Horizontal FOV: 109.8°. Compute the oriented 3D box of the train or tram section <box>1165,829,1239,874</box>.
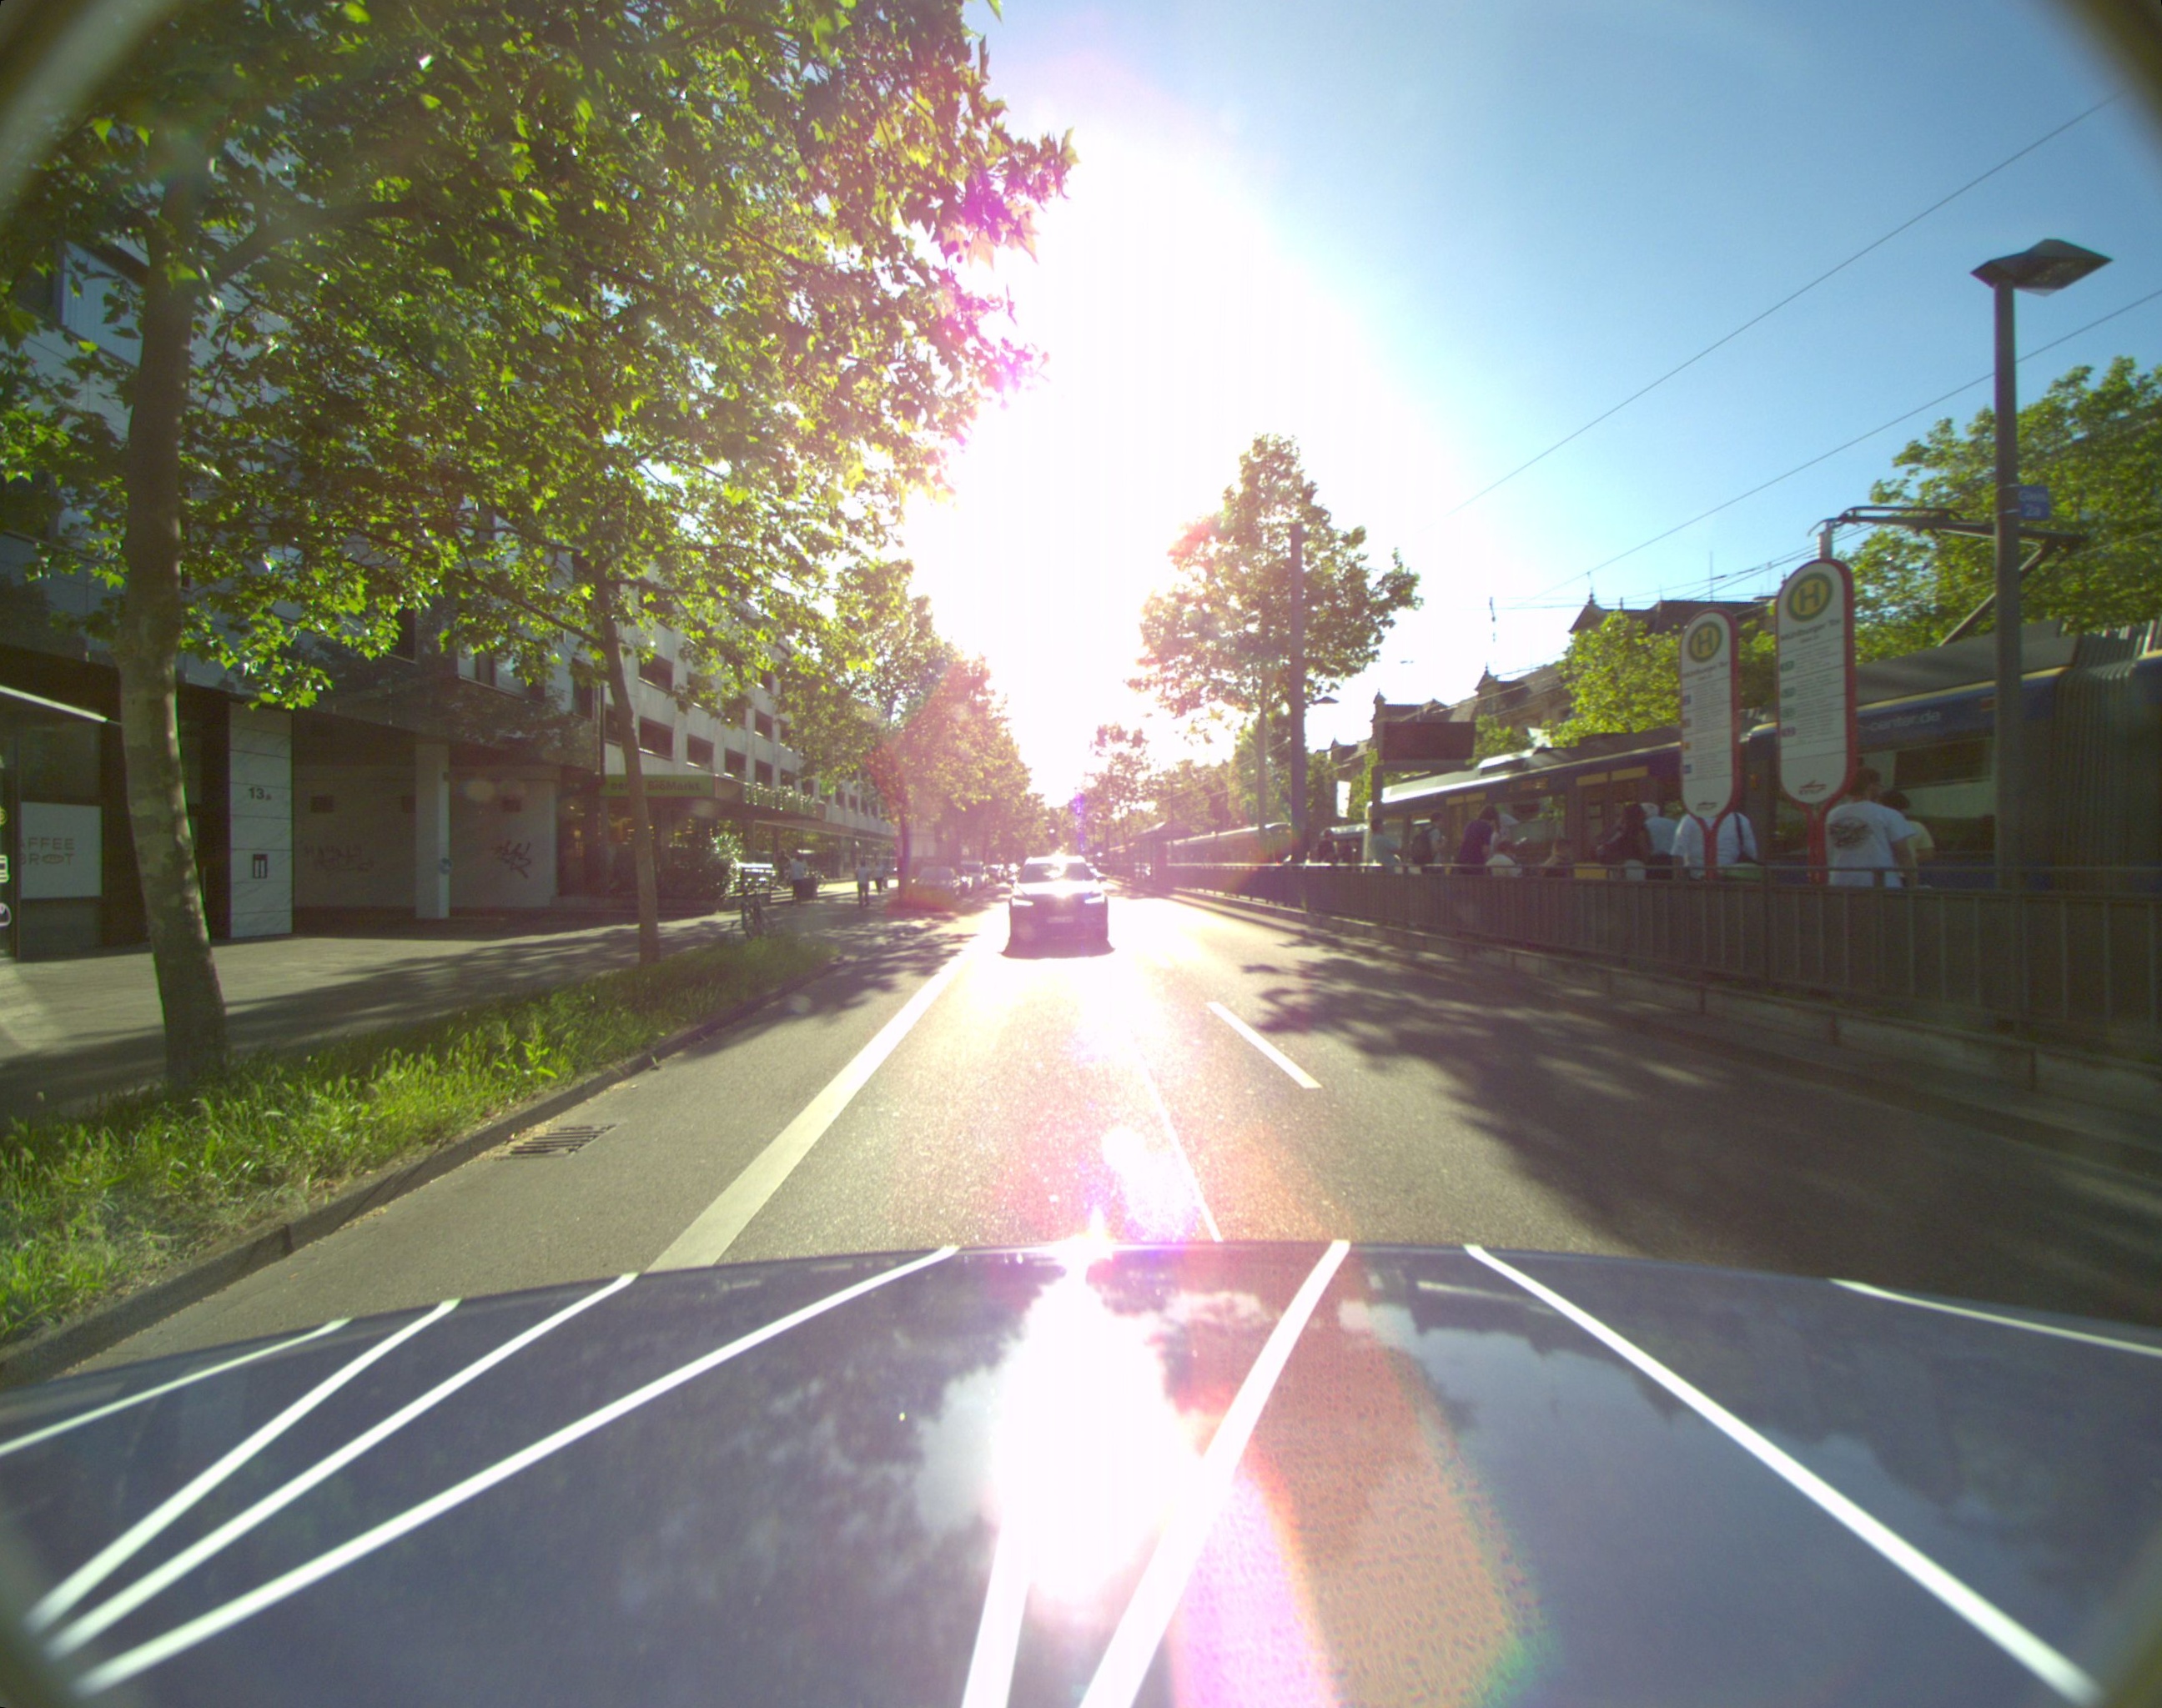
[{"bbox_3d":[10.363,-0.116,68.043,2.879,3.414,18.272,-2,0,-2],"label":"train or tram section"}]

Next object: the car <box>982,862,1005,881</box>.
[{"bbox_3d":[-7.295,1.482,63.753,1.677,1.430,3.689,2,0,-4],"label":"car"}]

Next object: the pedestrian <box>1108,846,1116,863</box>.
[{"bbox_3d":[2.938,0.069,72.878,0.701,1.626,0.761,-1,0,-3],"label":"pedestrian"}]

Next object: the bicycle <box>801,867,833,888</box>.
[{"bbox_3d":[-14.241,1.240,40.979,1.700,1.049,0.587,2,0,24],"label":"bicycle"}]

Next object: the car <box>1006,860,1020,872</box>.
[{"bbox_3d":[-9.384,1.694,105.168,1.839,1.555,4.272,-1,0,-3],"label":"car"}]

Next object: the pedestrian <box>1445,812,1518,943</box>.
[{"bbox_3d":[5.307,0.302,10.091,0.662,1.686,0.571,0,0,-2],"label":"pedestrian"}]

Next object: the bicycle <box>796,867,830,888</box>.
[{"bbox_3d":[-14.078,1.244,39.939,1.700,1.049,0.587,1,-1,24],"label":"bicycle"}]

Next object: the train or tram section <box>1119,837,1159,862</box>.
[{"bbox_3d":[6.239,-0.386,83.775,2.570,2.516,15.069,-1,0,-2],"label":"train or tram section"}]

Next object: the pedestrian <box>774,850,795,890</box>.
[{"bbox_3d":[-12.753,0.674,32.680,0.559,1.668,0.882,2,0,-3],"label":"pedestrian"}]

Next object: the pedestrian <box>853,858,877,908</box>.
[{"bbox_3d":[-7.557,0.999,26.592,0.561,1.694,1.052,0,0,-3],"label":"pedestrian"}]

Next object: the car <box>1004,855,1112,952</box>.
[{"bbox_3d":[-0.517,0.904,15.941,1.914,1.695,4.272,-1,0,-3],"label":"car"}]

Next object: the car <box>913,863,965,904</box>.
[{"bbox_3d":[-5.861,1.193,31.776,1.569,1.541,3.999,-1,0,-2],"label":"car"}]

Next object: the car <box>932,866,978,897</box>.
[{"bbox_3d":[-6.301,1.358,38.547,1.766,1.409,4.699,-1,0,-3],"label":"car"}]

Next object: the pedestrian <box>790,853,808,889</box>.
[{"bbox_3d":[-13.958,0.824,37.615,0.614,1.705,0.611,6,-1,-27],"label":"pedestrian"}]

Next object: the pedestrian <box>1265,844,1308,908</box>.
[{"bbox_3d":[4.902,0.520,18.184,0.778,1.501,0.751,0,0,-6],"label":"pedestrian"}]

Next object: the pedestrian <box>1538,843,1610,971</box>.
[{"bbox_3d":[5.186,0.542,8.006,0.417,1.308,0.507,0,0,-4],"label":"pedestrian"}]

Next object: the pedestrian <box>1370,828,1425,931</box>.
[{"bbox_3d":[5.132,0.405,12.343,0.662,1.624,0.571,0,0,-2],"label":"pedestrian"}]

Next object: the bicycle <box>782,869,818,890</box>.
[{"bbox_3d":[-13.418,1.229,36.291,1.648,0.910,0.587,1,-3,24],"label":"bicycle"}]

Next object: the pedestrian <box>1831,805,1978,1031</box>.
[{"bbox_3d":[6.749,0.503,6.254,0.555,1.759,0.611,0,0,-7],"label":"pedestrian"}]

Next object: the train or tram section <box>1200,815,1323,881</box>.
[{"bbox_3d":[11.097,-0.252,49.759,2.857,3.414,18.211,-2,0,-2],"label":"train or tram section"}]

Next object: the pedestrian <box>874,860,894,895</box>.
[{"bbox_3d":[-9.132,1.091,35.252,0.699,1.603,0.868,2,0,-1],"label":"pedestrian"}]

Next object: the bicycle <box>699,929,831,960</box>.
[{"bbox_3d":[-5.115,1.471,12.455,1.613,0.351,1.388,0,0,-3],"label":"bicycle"}]

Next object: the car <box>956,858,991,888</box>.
[{"bbox_3d":[-6.755,1.186,48.249,1.769,1.781,4.392,0,-1,-2],"label":"car"}]

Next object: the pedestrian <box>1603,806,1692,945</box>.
[{"bbox_3d":[6.926,0.259,9.315,0.620,1.640,0.622,0,0,-7],"label":"pedestrian"}]

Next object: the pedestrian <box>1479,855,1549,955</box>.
[{"bbox_3d":[5.287,0.606,9.297,0.546,1.185,0.531,0,0,-3],"label":"pedestrian"}]

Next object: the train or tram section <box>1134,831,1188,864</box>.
[{"bbox_3d":[6.923,-0.473,68.421,2.570,2.549,15.671,-1,0,-2],"label":"train or tram section"}]

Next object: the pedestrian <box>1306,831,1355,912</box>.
[{"bbox_3d":[5.497,0.389,16.764,0.778,1.742,0.723,0,0,-6],"label":"pedestrian"}]

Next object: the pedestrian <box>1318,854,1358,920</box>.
[{"bbox_3d":[4.951,0.622,14.664,0.535,1.239,0.604,0,0,-5],"label":"pedestrian"}]

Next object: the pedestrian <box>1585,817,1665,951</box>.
[{"bbox_3d":[6.323,0.337,8.854,0.546,1.510,0.531,0,0,-3],"label":"pedestrian"}]

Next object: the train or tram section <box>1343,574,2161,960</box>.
[{"bbox_3d":[9.586,-0.866,14.433,2.922,3.241,15.886,-2,1,-3],"label":"train or tram section"}]

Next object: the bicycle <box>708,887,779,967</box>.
[{"bbox_3d":[-5.458,1.137,12.397,0.791,1.126,1.844,0,0,-15],"label":"bicycle"}]

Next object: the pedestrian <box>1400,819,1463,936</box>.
[{"bbox_3d":[5.160,0.339,11.215,0.662,1.686,0.571,0,0,-2],"label":"pedestrian"}]

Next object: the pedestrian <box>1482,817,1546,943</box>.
[{"bbox_3d":[6.028,0.356,10.594,0.516,1.698,0.621,0,0,-3],"label":"pedestrian"}]

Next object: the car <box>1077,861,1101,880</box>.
[{"bbox_3d":[0.584,1.289,59.786,1.707,1.407,3.875,-2,0,-1],"label":"car"}]

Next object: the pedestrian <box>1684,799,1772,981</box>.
[{"bbox_3d":[6.317,0.335,7.443,0.506,1.692,0.613,0,0,25],"label":"pedestrian"}]

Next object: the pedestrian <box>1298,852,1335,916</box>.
[{"bbox_3d":[4.843,0.602,15.669,0.535,1.291,0.604,0,0,-6],"label":"pedestrian"}]

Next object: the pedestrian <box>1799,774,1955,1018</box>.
[{"bbox_3d":[5.841,0.292,5.604,0.507,1.692,0.611,0,0,-7],"label":"pedestrian"}]

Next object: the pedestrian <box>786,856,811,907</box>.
[{"bbox_3d":[-9.778,0.955,26.300,0.561,1.734,0.878,0,0,-3],"label":"pedestrian"}]
